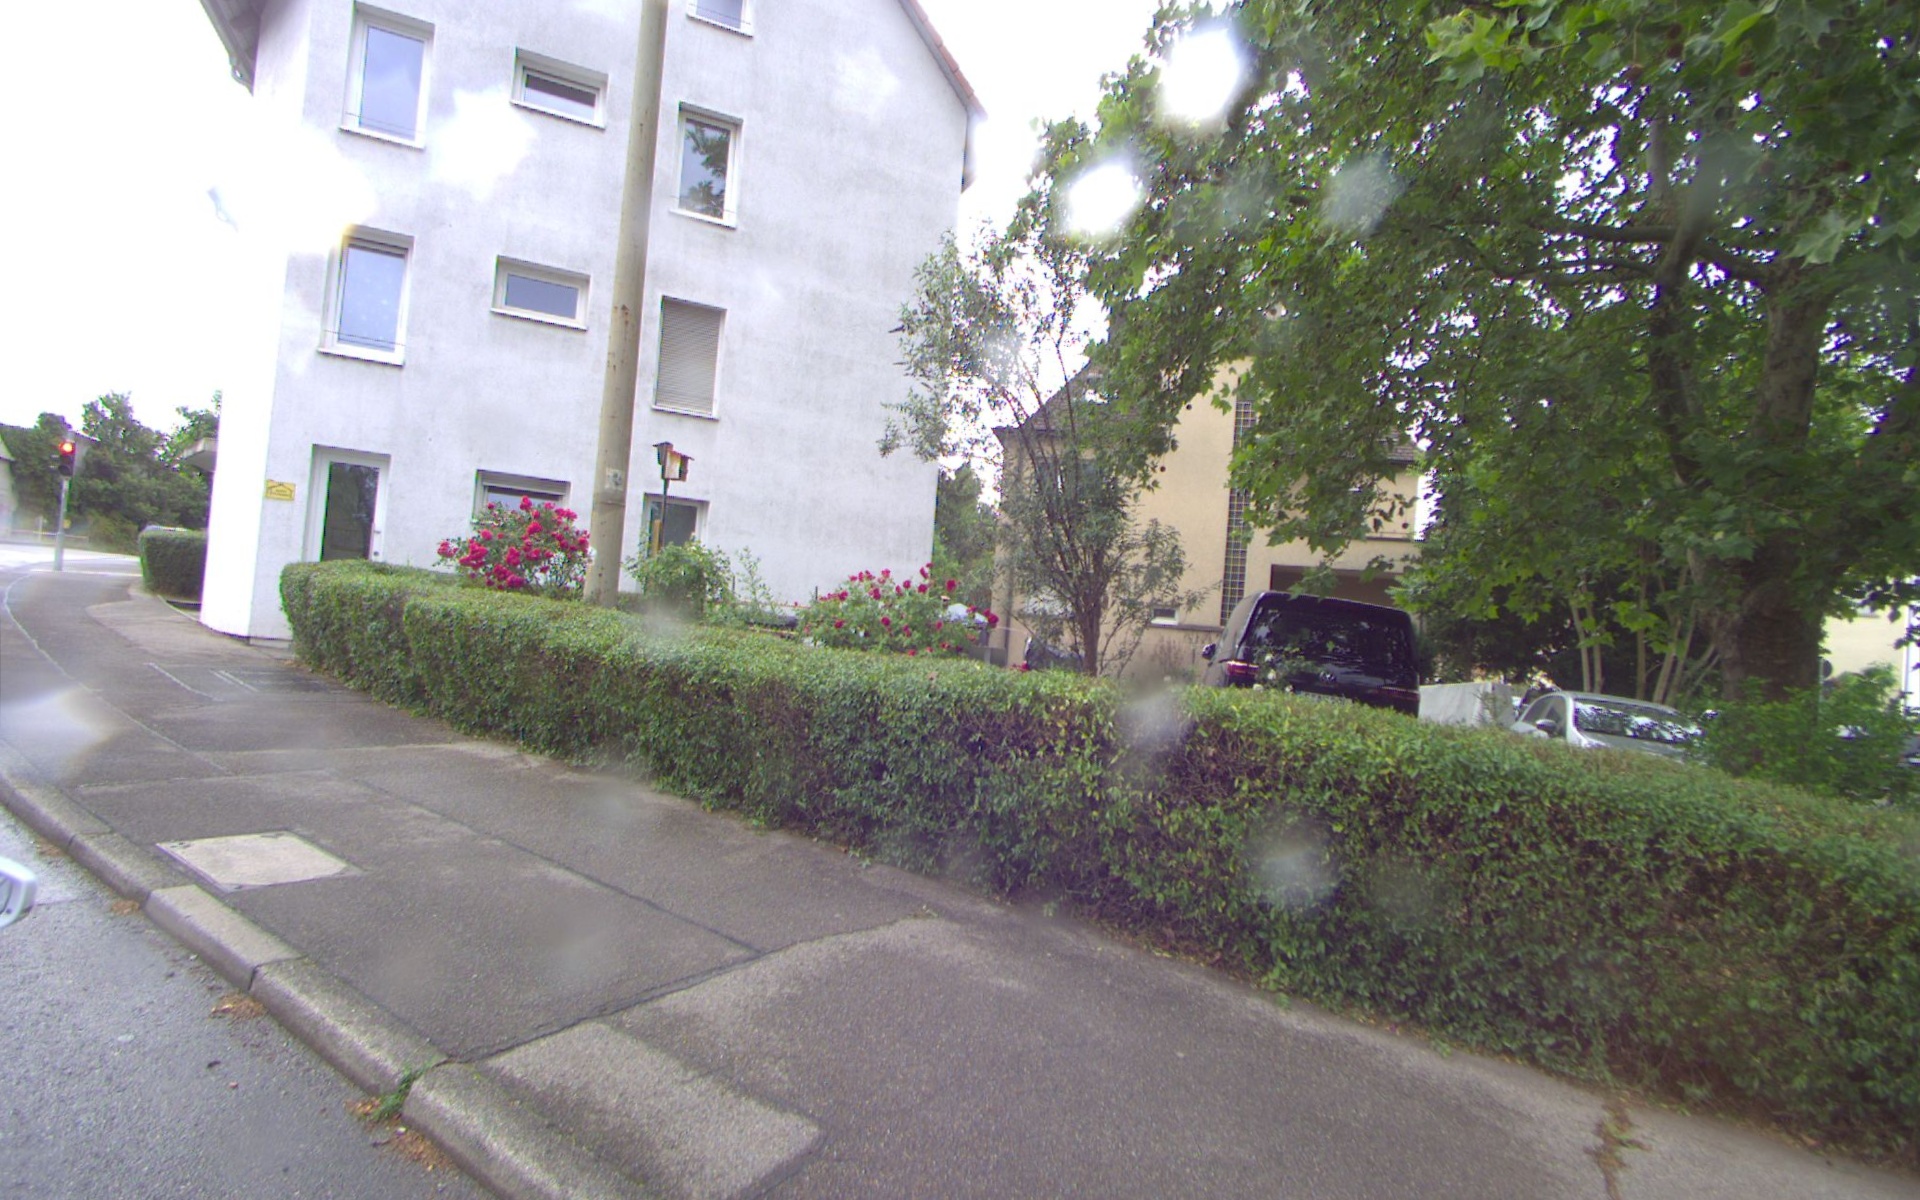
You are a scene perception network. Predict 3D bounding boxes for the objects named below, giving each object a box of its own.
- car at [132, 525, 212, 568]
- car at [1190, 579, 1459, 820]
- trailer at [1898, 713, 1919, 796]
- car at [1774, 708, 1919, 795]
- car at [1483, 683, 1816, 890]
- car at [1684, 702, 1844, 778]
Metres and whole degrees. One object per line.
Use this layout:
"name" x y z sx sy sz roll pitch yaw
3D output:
"car" -35.597 -2.361 45.564 1.976 1.536 3.976 7 -2 -26
"car" 3.774 0.987 11.283 1.962 1.955 4.419 6 -1 11
"trailer" 24.736 3.910 23.954 1.640 2.037 3.494 6 -1 8
"car" 25.280 4.197 27.968 1.962 1.861 4.584 6 -1 9
"car" 7.402 1.874 11.326 1.788 1.599 4.003 6 -2 16
"car" 26.365 4.536 33.213 1.962 1.861 4.584 6 -1 9
